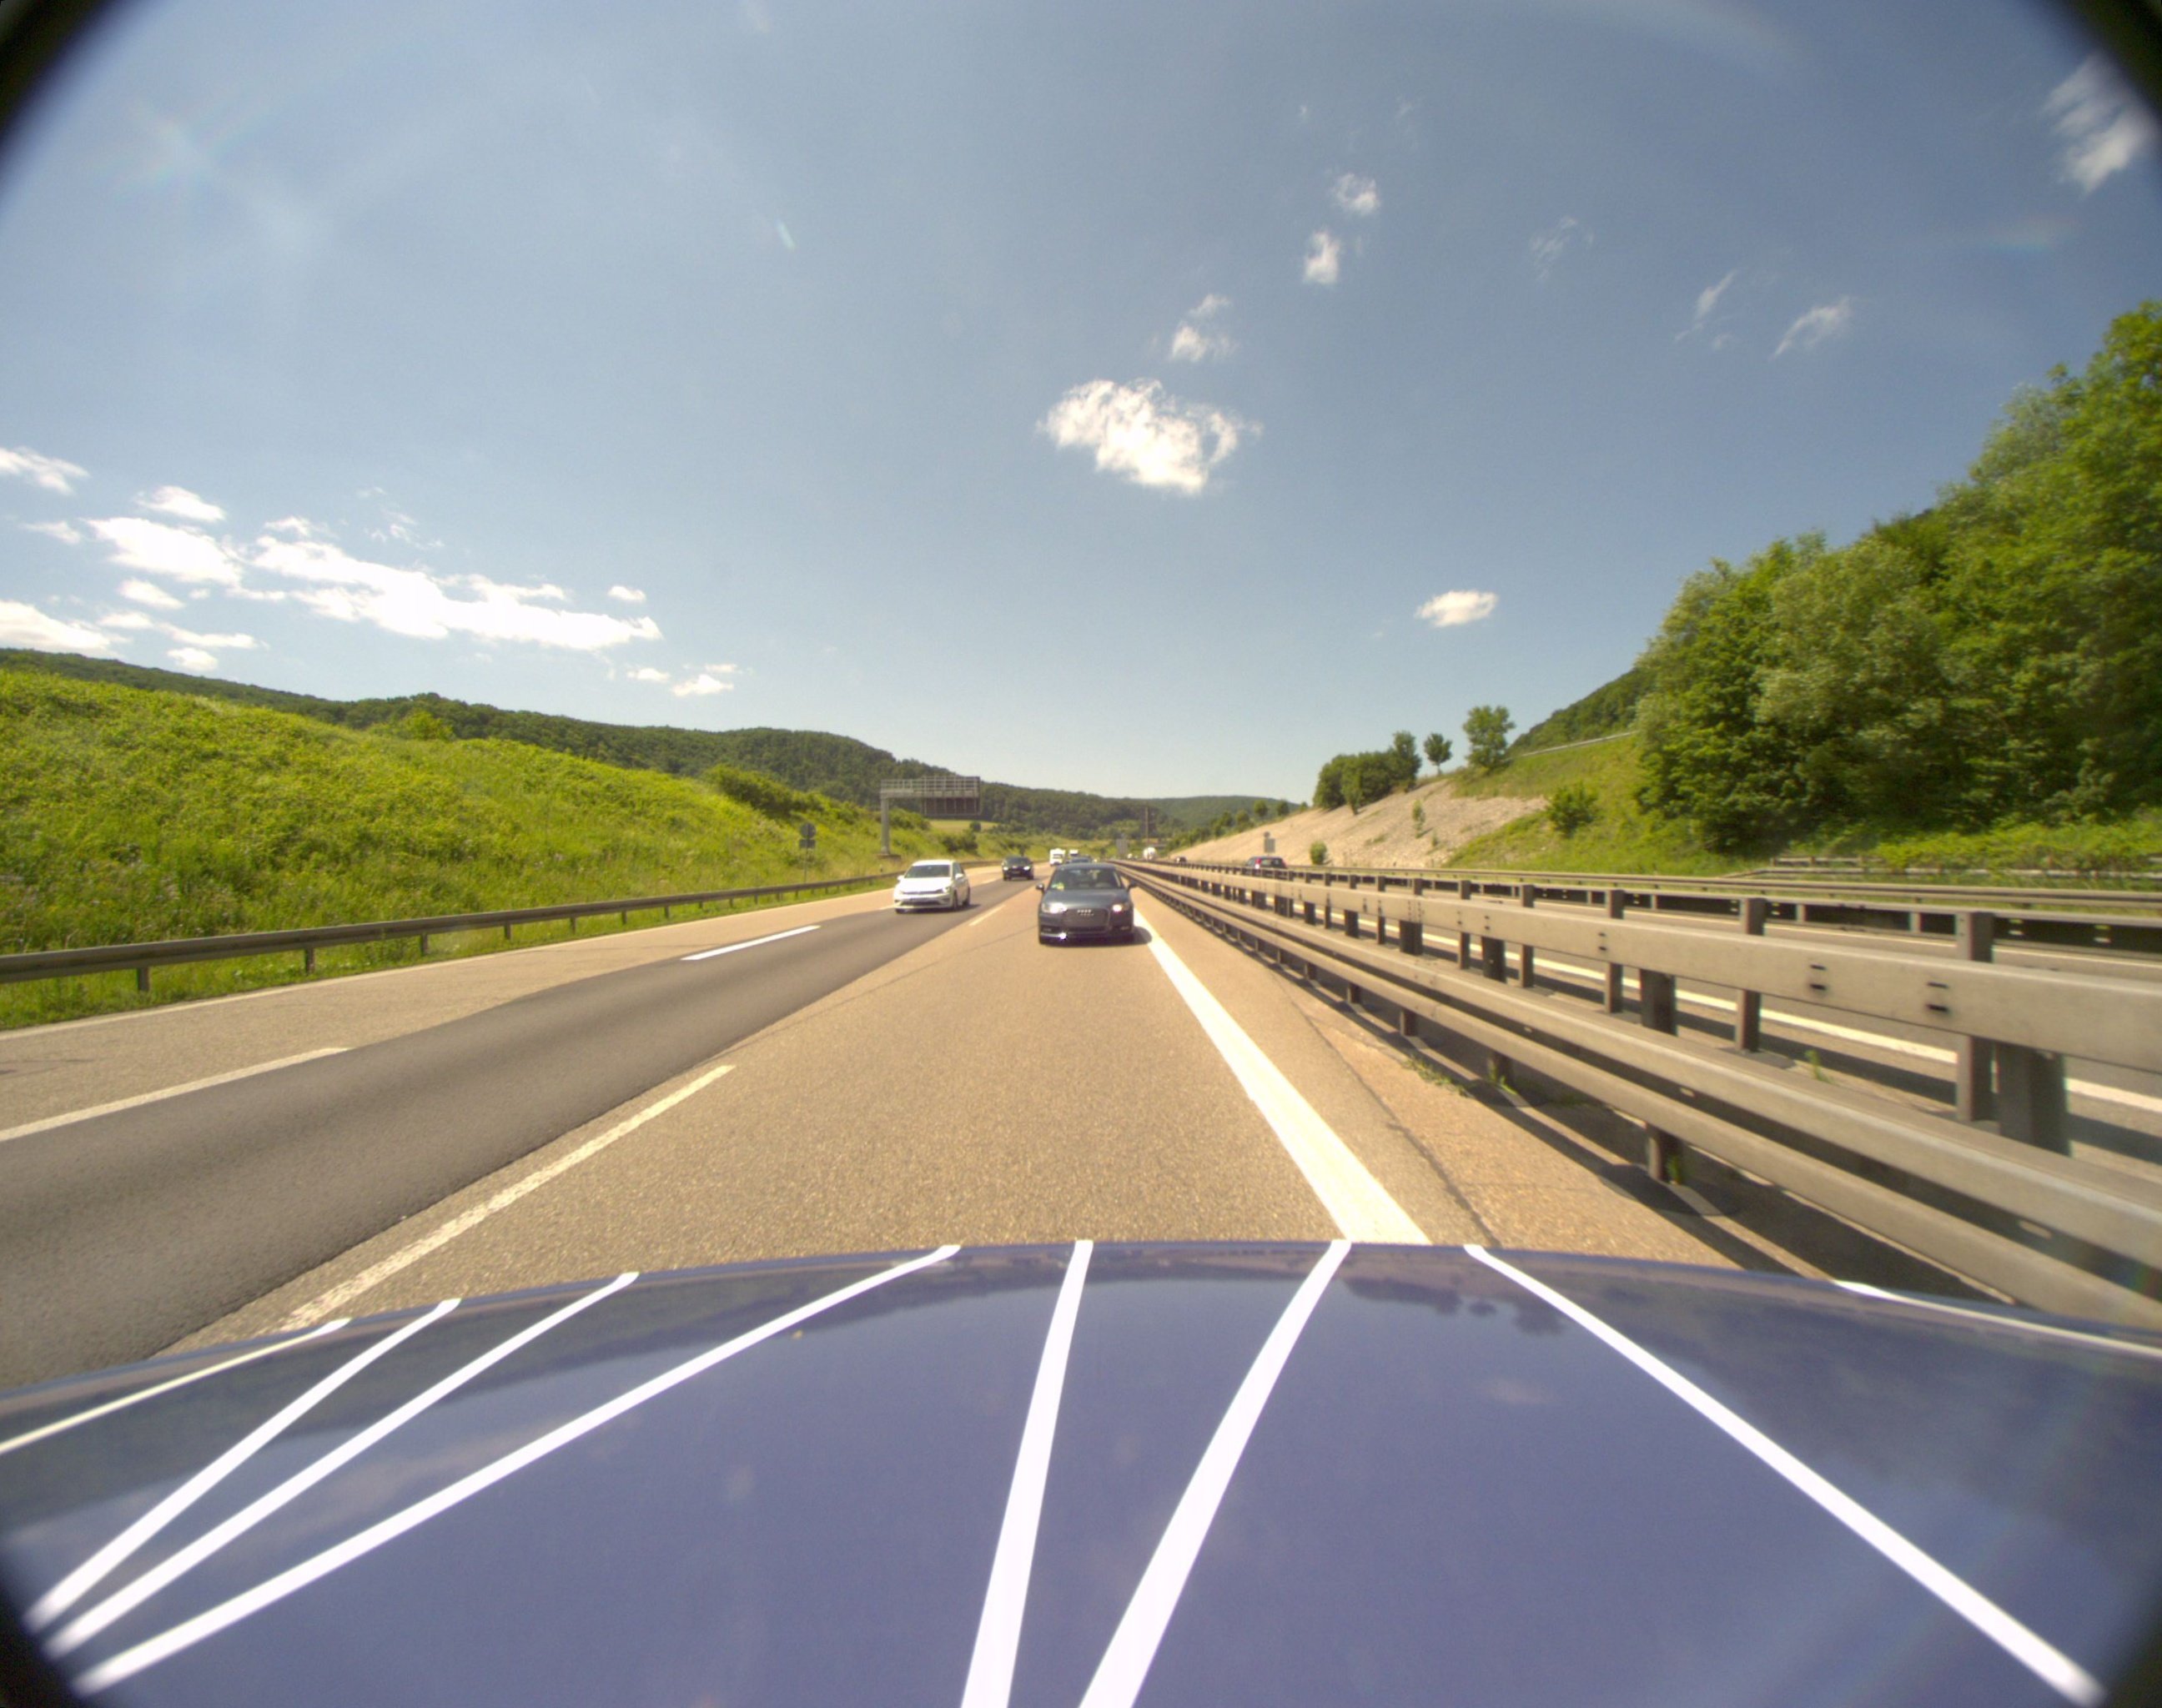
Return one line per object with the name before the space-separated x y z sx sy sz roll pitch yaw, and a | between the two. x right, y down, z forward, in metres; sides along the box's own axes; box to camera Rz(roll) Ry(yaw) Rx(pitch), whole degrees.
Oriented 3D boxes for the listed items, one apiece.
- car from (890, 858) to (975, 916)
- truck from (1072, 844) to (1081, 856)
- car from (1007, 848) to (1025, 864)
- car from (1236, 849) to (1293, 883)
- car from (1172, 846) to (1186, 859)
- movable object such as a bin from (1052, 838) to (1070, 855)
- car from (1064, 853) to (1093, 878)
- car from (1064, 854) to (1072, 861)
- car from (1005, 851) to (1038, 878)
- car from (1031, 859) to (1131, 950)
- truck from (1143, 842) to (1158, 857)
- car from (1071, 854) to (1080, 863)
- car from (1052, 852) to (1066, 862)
car | -4.539 0.953 23.837 1.777 1.532 4.054 -2 1 1
truck | -1.462 -1.403 241.811 2.336 3.623 7.005 -2 1 1
car | -6.666 0.171 78.060 1.684 1.585 4.246 -2 1 -5
car | 8.461 0.518 35.334 1.672 1.426 3.999 -2 1 0
car | 15.952 -0.236 123.386 1.998 2.002 4.001 -1 0 4
movable object such as a bin | -3.272 -1.292 125.113 2.481 2.617 6.708 -2 1 1
car | -0.112 0.773 52.198 1.835 1.586 4.000 -1 0 2
car | -2.813 0.778 165.012 1.711 1.542 4.000 -1 1 1
car | -4.050 0.678 52.503 1.893 1.762 4.171 -1 0 1
car | 0.127 0.857 14.630 1.591 1.402 4.001 -2 1 4
truck | 15.243 -1.064 168.301 2.617 3.035 10.990 -2 1 2
car | -1.429 1.085 190.636 1.998 2.002 4.000 -2 2 3
car | -3.394 0.448 117.631 1.821 1.574 4.000 -1 0 1
